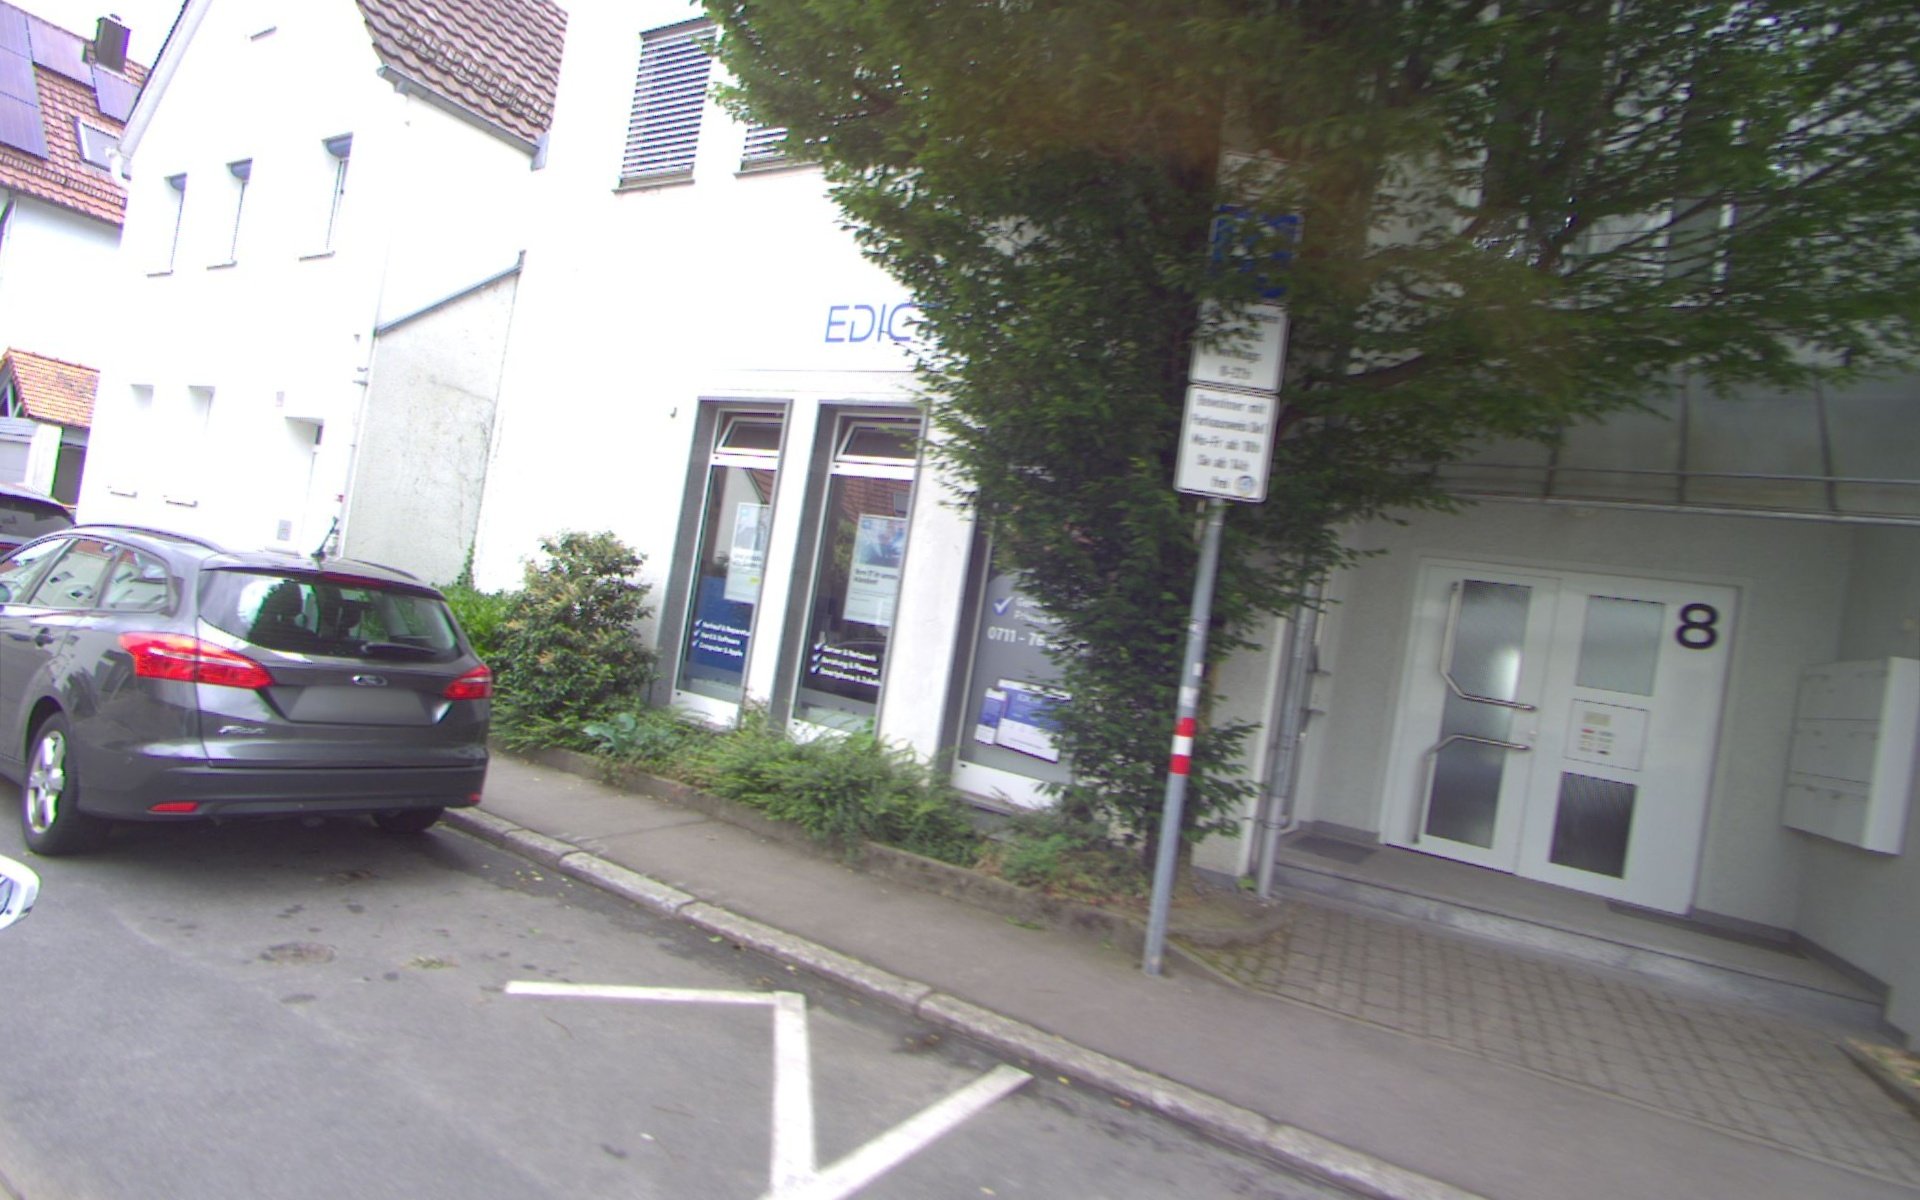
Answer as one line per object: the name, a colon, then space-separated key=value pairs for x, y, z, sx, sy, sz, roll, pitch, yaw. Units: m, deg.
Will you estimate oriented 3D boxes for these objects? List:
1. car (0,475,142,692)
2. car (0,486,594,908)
car: x=-9.562 y=-0.398 z=8.988 sx=4.820 sy=1.651 sz=1.867 roll=7 pitch=-2 yaw=32
car: x=-4.582 y=0.283 z=5.929 sx=4.741 sy=1.524 sz=1.952 roll=7 pitch=-3 yaw=33
